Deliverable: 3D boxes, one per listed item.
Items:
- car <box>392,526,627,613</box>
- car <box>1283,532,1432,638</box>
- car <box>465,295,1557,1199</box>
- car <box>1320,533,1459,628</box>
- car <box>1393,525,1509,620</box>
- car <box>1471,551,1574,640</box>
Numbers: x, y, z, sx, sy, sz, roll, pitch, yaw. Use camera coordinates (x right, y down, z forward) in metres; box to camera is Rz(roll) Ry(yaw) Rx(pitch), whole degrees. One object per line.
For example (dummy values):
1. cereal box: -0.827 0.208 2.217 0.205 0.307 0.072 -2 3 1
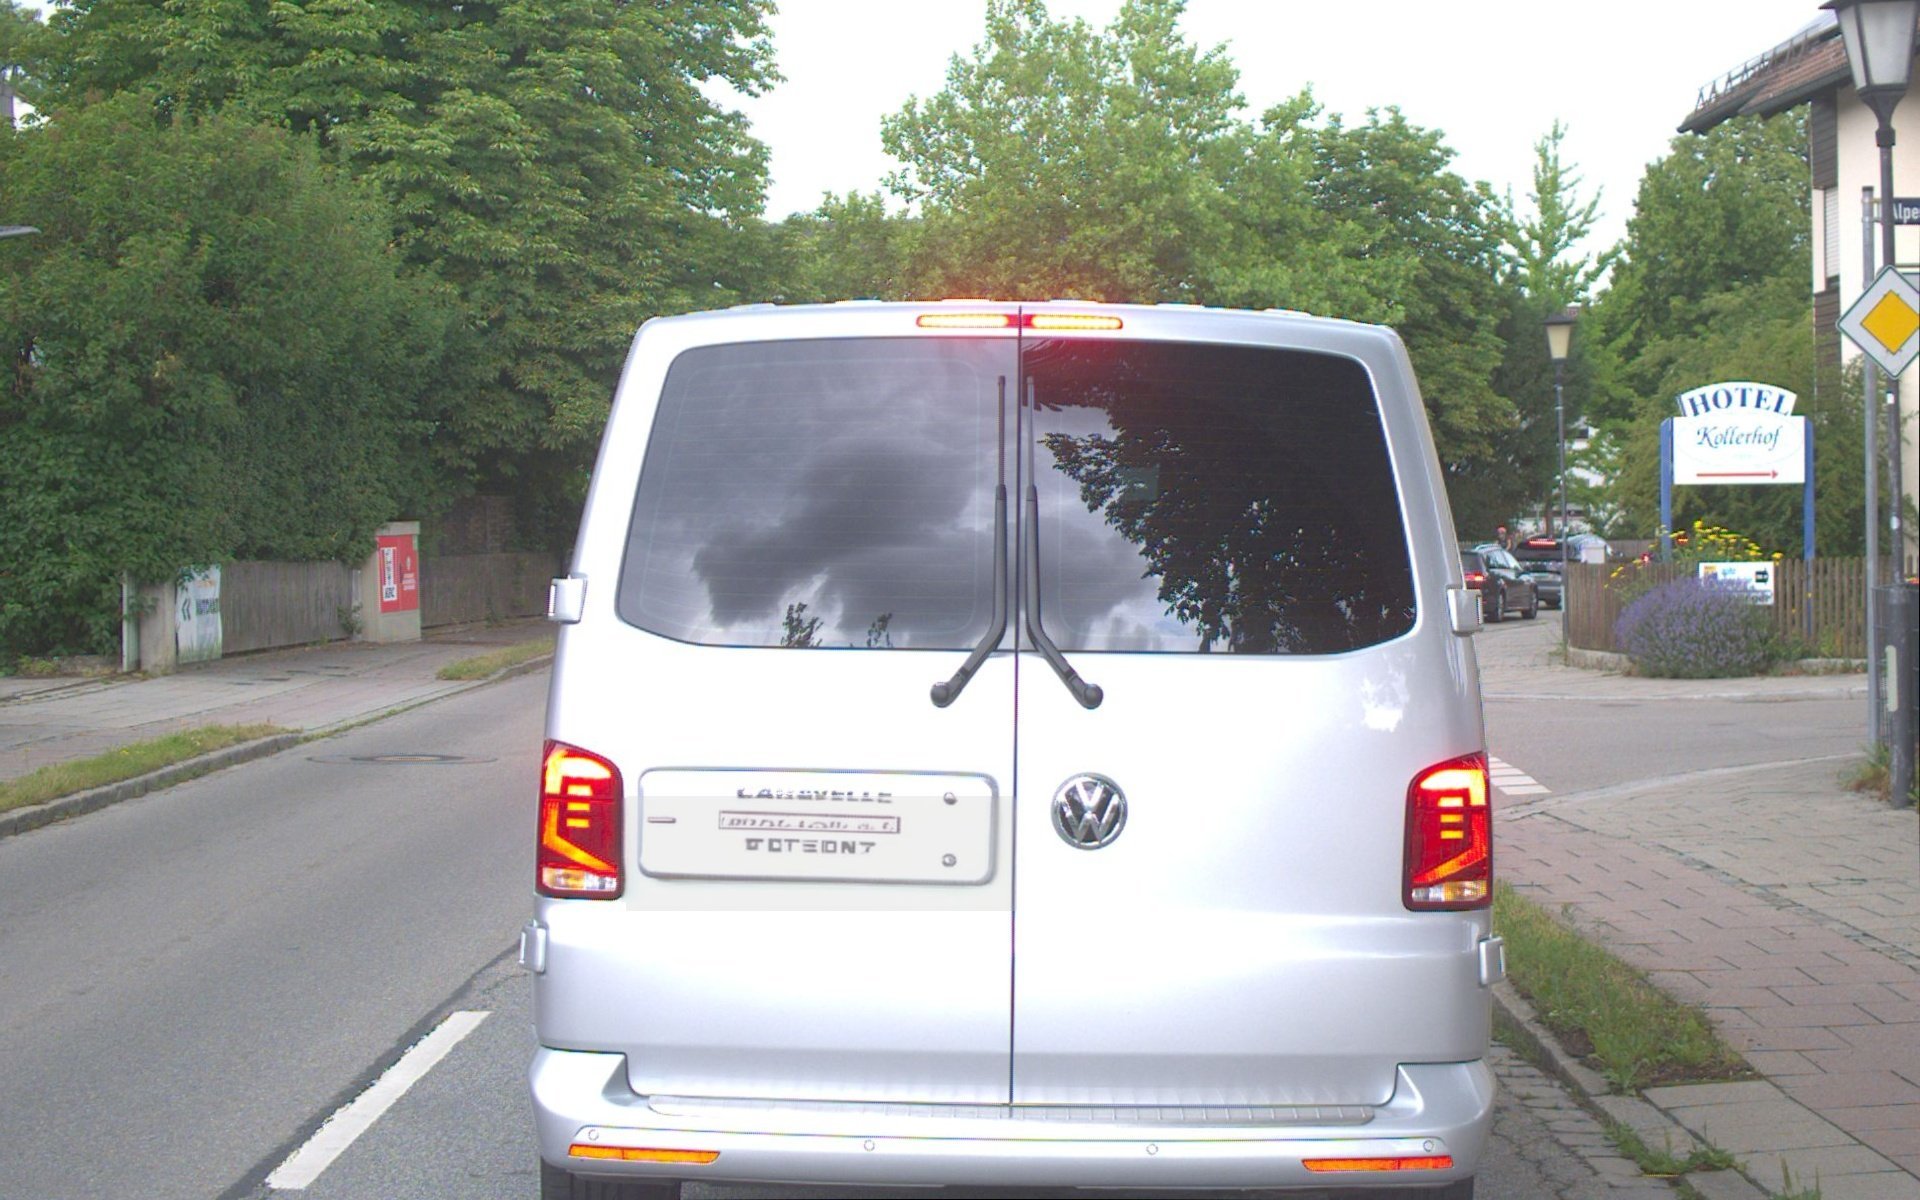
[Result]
1. car: -7.829 -0.547 59.743 3.986 1.481 2.001 0 1 -8
2. car: 6.056 -0.255 52.037 1.882 1.530 3.919 0 1 12
3. car: 0.105 0.409 7.927 1.881 1.934 3.921 0 1 0
4. car: 7.243 -0.343 57.743 1.882 1.530 3.918 0 1 14
5. car: 9.364 -0.539 65.380 1.882 1.742 4.078 0 1 12
6. car: 12.041 -0.119 73.394 1.882 1.819 3.918 0 1 13
